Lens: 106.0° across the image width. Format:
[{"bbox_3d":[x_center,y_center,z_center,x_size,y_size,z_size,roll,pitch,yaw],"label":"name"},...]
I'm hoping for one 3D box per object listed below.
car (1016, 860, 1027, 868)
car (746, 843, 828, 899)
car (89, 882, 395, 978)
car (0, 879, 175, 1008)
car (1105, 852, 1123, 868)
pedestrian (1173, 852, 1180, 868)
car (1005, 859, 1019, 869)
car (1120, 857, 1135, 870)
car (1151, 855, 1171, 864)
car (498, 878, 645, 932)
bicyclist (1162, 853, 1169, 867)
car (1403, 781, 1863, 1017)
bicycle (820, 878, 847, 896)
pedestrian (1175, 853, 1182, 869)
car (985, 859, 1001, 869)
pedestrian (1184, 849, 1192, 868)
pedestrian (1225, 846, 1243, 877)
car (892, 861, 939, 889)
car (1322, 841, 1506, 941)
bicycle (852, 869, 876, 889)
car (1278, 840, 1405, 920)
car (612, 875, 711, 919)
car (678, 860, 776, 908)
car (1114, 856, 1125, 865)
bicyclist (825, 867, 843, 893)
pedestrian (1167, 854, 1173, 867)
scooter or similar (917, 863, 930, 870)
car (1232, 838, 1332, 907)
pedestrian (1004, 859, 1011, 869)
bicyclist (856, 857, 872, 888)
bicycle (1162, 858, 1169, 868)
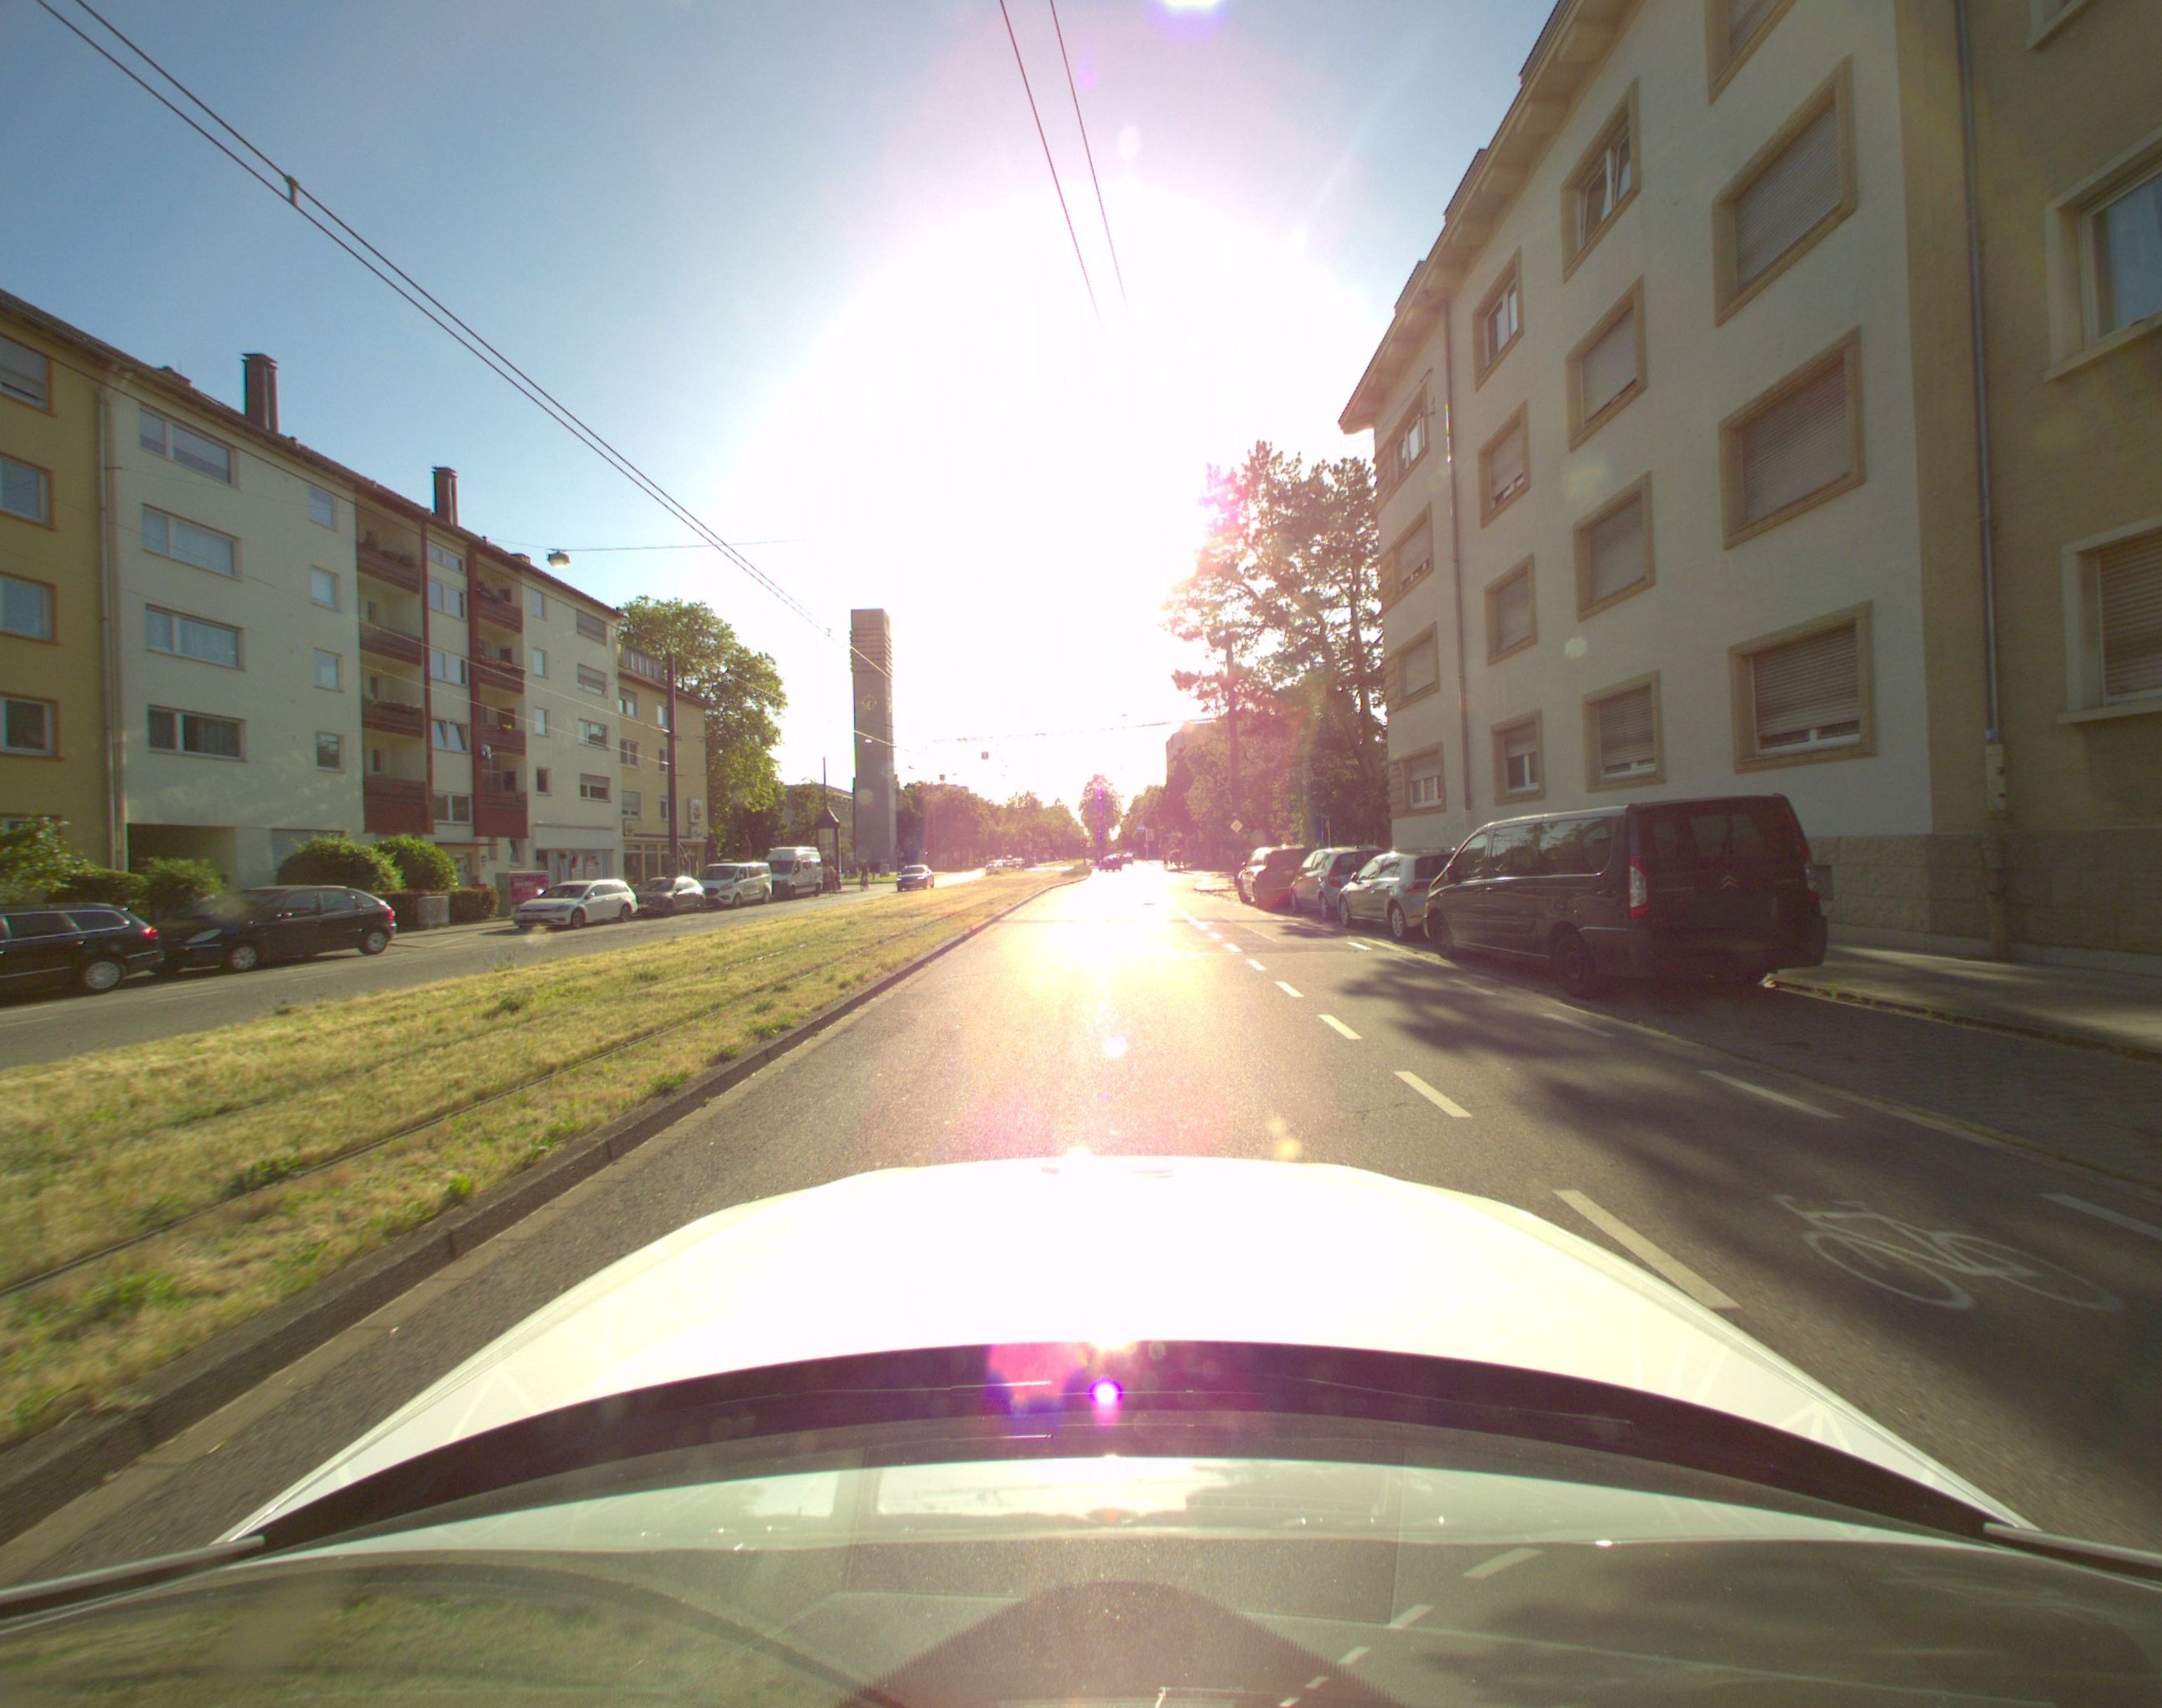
[{"bbox_3d":[-10.986,1.840,149.796,1.560,1.402,3.916,1,0,2],"label":"car"},{"bbox_3d":[-16.143,0.902,45.165,2.024,2.869,6.232,-1,0,3],"label":"car"},{"bbox_3d":[-17.105,1.472,16.987,1.986,1.607,4.152,1,0,1],"label":"car"},{"bbox_3d":[-17.089,1.366,12.109,1.986,1.838,4.610,0,0,1],"label":"car"},{"bbox_3d":[3.252,0.592,80.727,1.689,1.508,3.698,0,0,-1],"label":"car"},{"bbox_3d":[10.526,0.654,90.046,0.724,1.682,0.534,0,-1,14],"label":"pedestrian"},{"bbox_3d":[-10.965,1.620,129.977,1.681,1.533,4.362,-2,0,2],"label":"car"},{"bbox_3d":[7.010,1.465,123.263,1.962,1.860,3.999,1,0,0],"label":"car"},{"bbox_3d":[16.799,1.063,170.746,3.960,1.860,2.019,0,0,12],"label":"car"},{"bbox_3d":[-16.556,1.599,26.804,1.886,1.491,4.702,0,0,-1],"label":"car"},{"bbox_3d":[8.513,0.589,81.864,0.635,1.323,0.804,0,0,4],"label":"bicyclist"},{"bbox_3d":[5.828,0.407,9.672,1.906,1.899,5.136,-5,0,1],"label":"car"},{"bbox_3d":[-13.817,1.815,45.563,0.765,0.879,2.069,-4,0,2],"label":"bicycle"},{"bbox_3d":[9.509,0.641,79.453,0.526,1.529,0.629,-4,-1,7],"label":"pedestrian"},{"bbox_3d":[-14.002,1.530,129.458,1.800,1.533,4.362,-2,0,2],"label":"car"},{"bbox_3d":[10.394,0.453,79.206,0.699,1.789,0.695,-4,0,7],"label":"pedestrian"},{"bbox_3d":[8.805,0.441,46.835,0.876,1.722,0.726,-2,0,7],"label":"pedestrian"},{"bbox_3d":[-9.805,1.216,48.605,1.688,1.448,4.219,-3,0,2],"label":"car"},{"bbox_3d":[5.871,0.601,14.928,1.506,1.478,4.236,-3,-1,-1],"label":"car"},{"bbox_3d":[-13.936,1.601,52.366,0.765,1.146,2.475,-4,0,2],"label":"bicycle"},{"bbox_3d":[6.010,0.561,19.243,1.589,1.578,3.894,-4,0,-1],"label":"car"},{"bbox_3d":[-16.393,1.633,32.093,1.689,1.515,4.324,-1,0,-1],"label":"car"},{"bbox_3d":[-16.336,1.328,37.943,2.024,2.021,5.374,0,0,2],"label":"car"},{"bbox_3d":[7.328,1.167,153.521,1.887,1.611,4.500,1,0,0],"label":"car"},{"bbox_3d":[-13.810,1.434,45.522,0.770,1.384,0.648,-2,-1,1],"label":"bicyclist"},{"bbox_3d":[9.844,0.716,90.068,0.642,1.522,0.498,0,-1,14],"label":"pedestrian"},{"bbox_3d":[-21.809,1.754,112.790,1.737,0.899,0.561,-2,-1,-14],"label":"scooter or similar"},{"bbox_3d":[5.962,0.521,24.759,1.871,1.717,4.937,-5,0,2],"label":"car"},{"bbox_3d":[-11.037,1.504,121.942,0.887,1.606,0.614,1,-1,1],"label":"pedestrian"},{"bbox_3d":[-13.964,1.176,52.437,0.770,2.014,0.648,1,-1,1],"label":"bicyclist"},{"bbox_3d":[8.520,0.896,81.950,0.645,0.973,1.806,0,0,5],"label":"bicycle"}]
